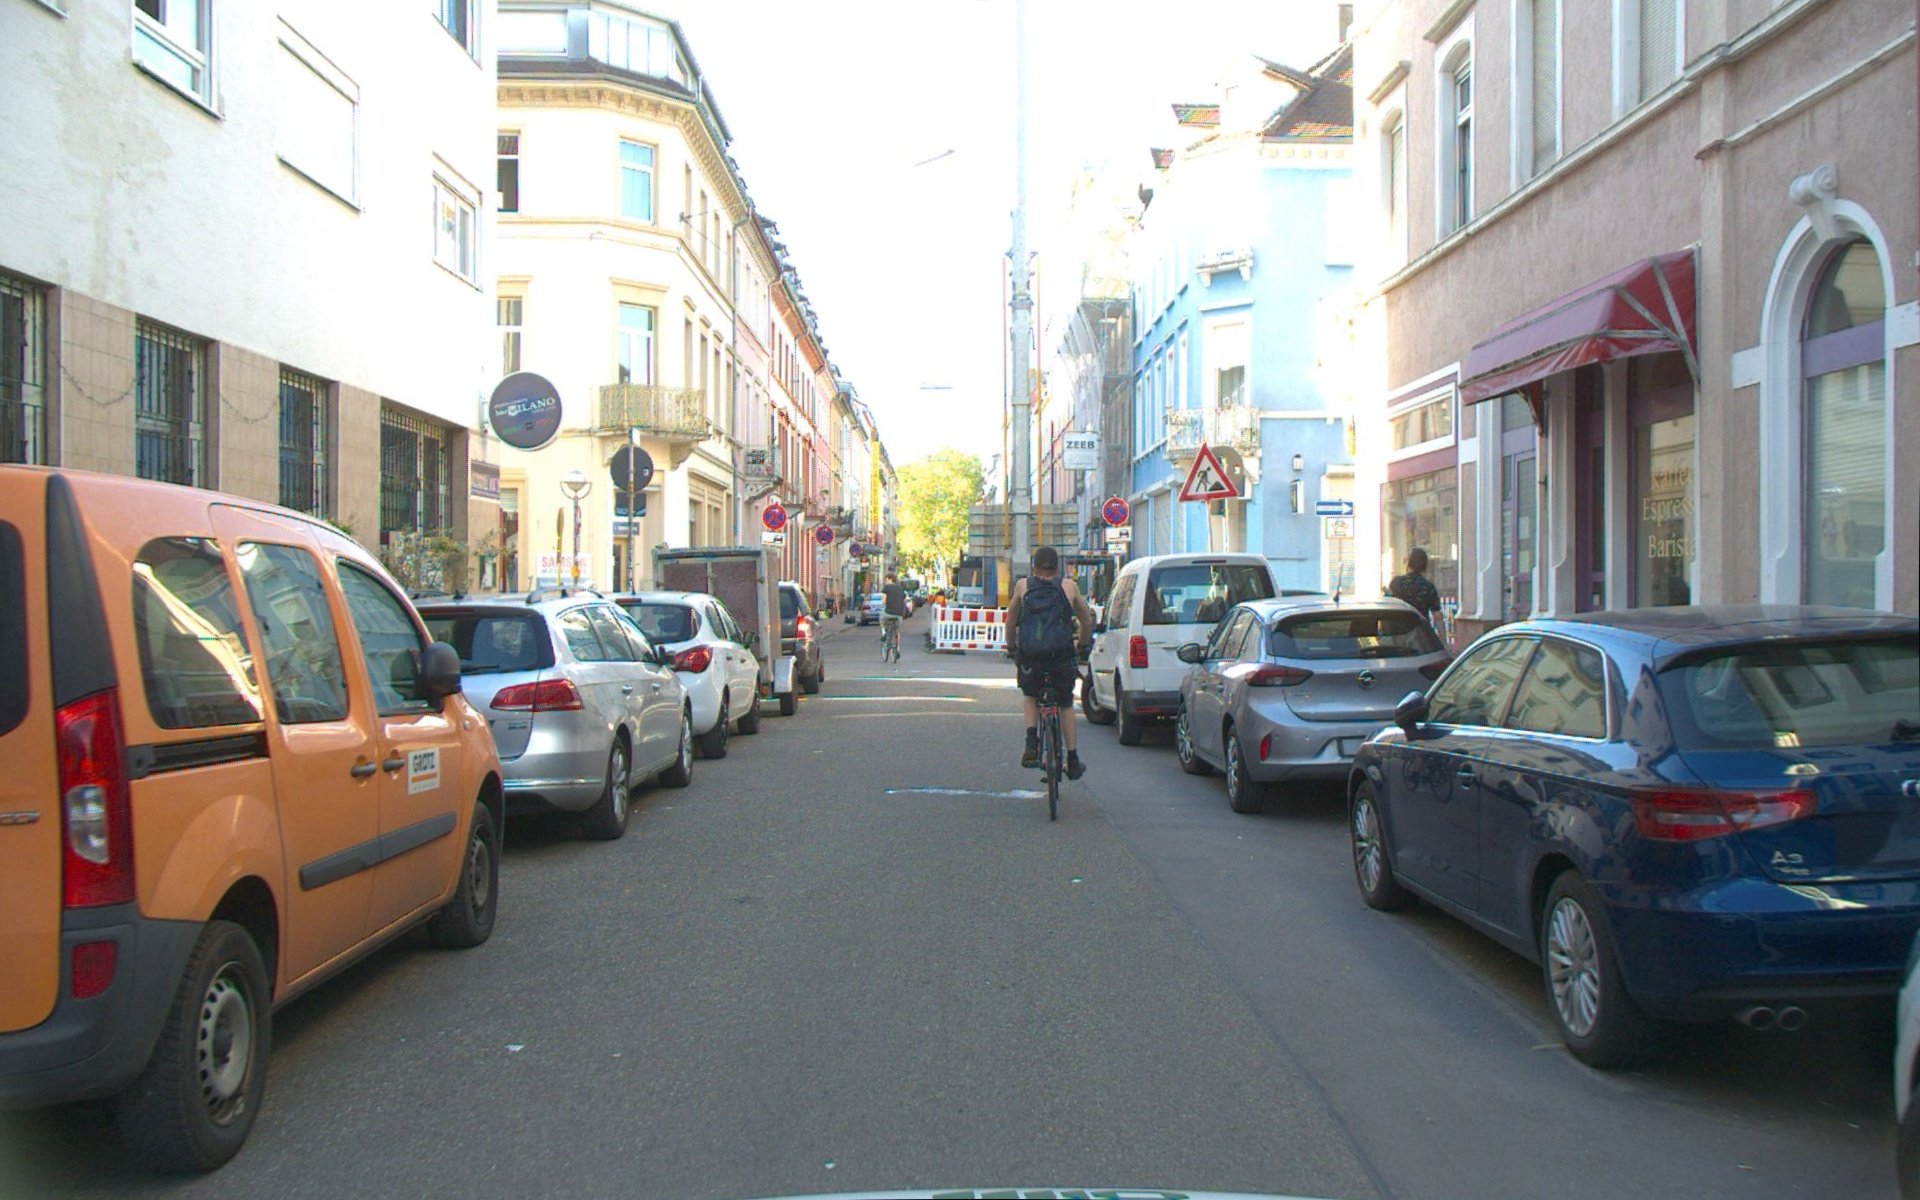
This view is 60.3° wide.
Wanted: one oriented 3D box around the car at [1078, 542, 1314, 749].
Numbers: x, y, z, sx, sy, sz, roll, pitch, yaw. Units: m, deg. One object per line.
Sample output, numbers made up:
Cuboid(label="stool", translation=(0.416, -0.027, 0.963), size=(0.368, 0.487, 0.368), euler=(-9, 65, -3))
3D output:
Cuboid(label="car", translation=(2.361, 0.432, 17.541), size=(1.715, 1.911, 3.970), euler=(-1, 0, -3))

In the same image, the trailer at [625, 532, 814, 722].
Cuboid(label="trailer", translation=(-2.898, 0.308, 20.664), size=(1.843, 2.129, 3.736), euler=(-1, 0, -1))

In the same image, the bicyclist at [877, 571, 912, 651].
Cuboid(label="bicyclist", translation=(-1.335, 0.225, 33.760), size=(0.657, 1.595, 0.716), euler=(1, -1, -1))

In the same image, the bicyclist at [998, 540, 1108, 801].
Cuboid(label="bicyclist", translation=(0.627, 0.468, 11.469), size=(0.654, 1.706, 1.097), euler=(1, 0, -1))

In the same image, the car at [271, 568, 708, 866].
Cuboid(label="car", translation=(-2.846, 0.634, 11.013), size=(1.714, 1.564, 4.318), euler=(-1, 0, -1))

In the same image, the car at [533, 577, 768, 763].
Cuboid(label="car", translation=(-2.871, 0.608, 16.031), size=(1.620, 1.564, 3.633), euler=(-1, 0, -1))

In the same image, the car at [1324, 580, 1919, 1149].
Cuboid(label="car", translation=(2.771, 0.735, 6.627), size=(1.613, 1.500, 3.970), euler=(-4, 0, -1))

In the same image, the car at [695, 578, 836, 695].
Cuboid(label="car", translation=(-2.852, 0.516, 24.978), size=(1.714, 1.600, 3.795), euler=(-1, 0, -1))

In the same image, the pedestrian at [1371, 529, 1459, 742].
Cuboid(label="pedestrian", translation=(4.506, 0.347, 16.415), size=(0.631, 2.049, 0.763), euler=(1, -1, -1))

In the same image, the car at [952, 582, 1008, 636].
Cuboid(label="car", translation=(0.588, 0.265, 51.108), size=(1.578, 1.587, 3.609), euler=(1, 0, -1))

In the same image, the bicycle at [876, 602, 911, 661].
Cuboid(label="bicycle", translation=(-1.339, 0.626, 33.698), size=(0.635, 1.149, 2.135), euler=(1, 0, -1))

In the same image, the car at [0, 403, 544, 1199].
Cuboid(label="car", translation=(-2.733, 0.546, 5.488), size=(1.717, 1.848, 4.077), euler=(-2, 0, -2))

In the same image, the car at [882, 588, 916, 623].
Cuboid(label="car", translation=(-3.340, 0.284, 91.092), size=(1.714, 1.853, 3.795), euler=(-1, 0, -1))

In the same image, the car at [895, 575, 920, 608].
Cuboid(label="car", translation=(-3.799, -0.588, 120.288), size=(1.714, 2.358, 3.795), euler=(-1, 0, -1))

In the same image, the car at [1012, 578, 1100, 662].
Cuboid(label="car", translation=(1.977, 0.411, 34.928), size=(1.578, 1.662, 3.609), euler=(1, 0, -1))

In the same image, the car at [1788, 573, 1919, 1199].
Cuboid(label="car", translation=(2.905, 0.666, 2.214), size=(1.633, 1.531, 3.816), euler=(-3, 0, 0))

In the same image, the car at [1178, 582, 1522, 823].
Cuboid(label="car", translation=(2.747, 0.663, 12.483), size=(1.714, 1.513, 3.800), euler=(-1, 0, 1))

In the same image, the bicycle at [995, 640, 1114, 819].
Cuboid(label="bicycle", translation=(0.624, 0.850, 11.518), size=(0.663, 1.093, 1.941), euler=(1, 0, -1))

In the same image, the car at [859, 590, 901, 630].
Cuboid(label="car", translation=(-3.557, 0.425, 74.009), size=(1.714, 1.713, 3.795), euler=(-1, 0, -1))
